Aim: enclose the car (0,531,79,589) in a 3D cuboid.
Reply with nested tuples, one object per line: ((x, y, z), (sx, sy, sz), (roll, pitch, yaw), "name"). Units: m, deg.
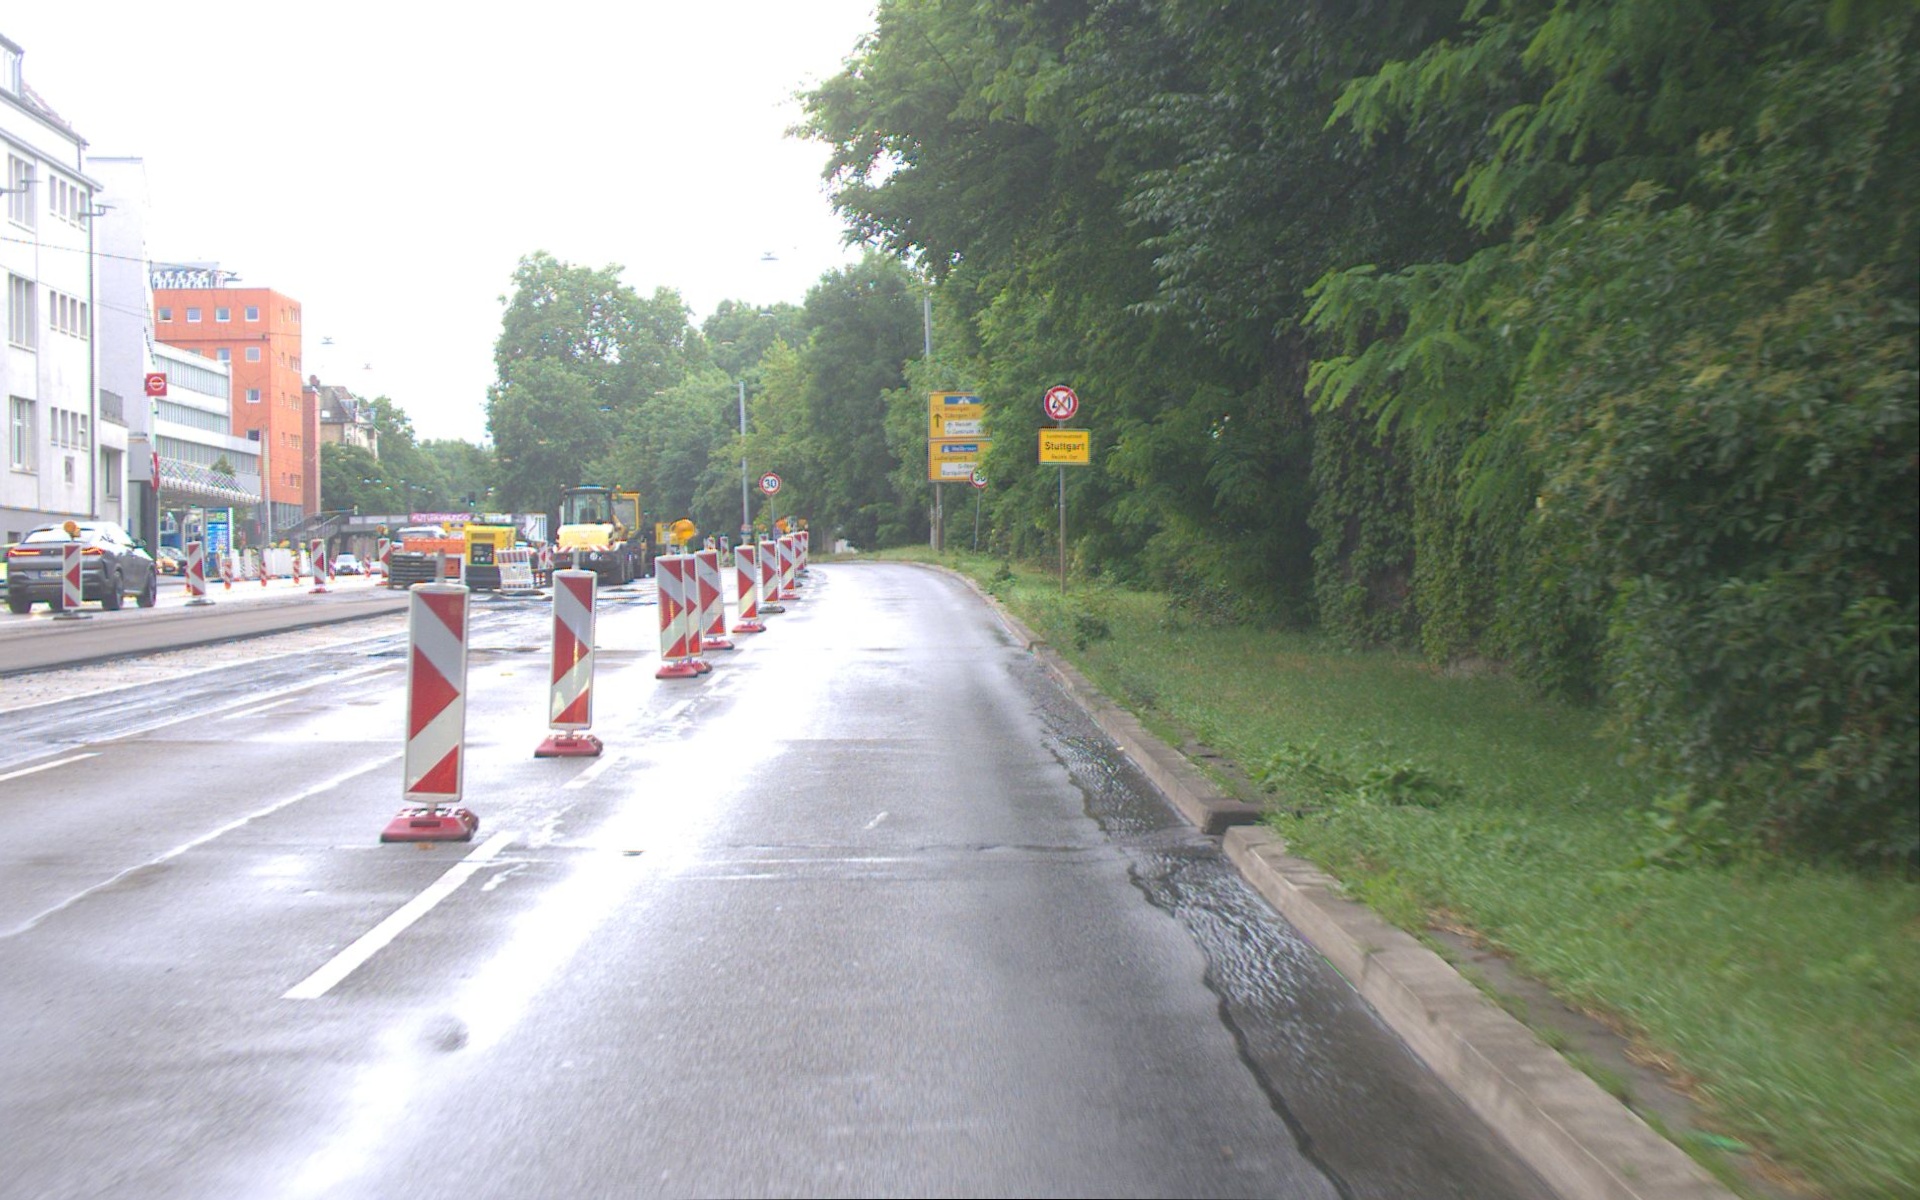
((-22.819, -0.994, 84.227), (1.553, 1.363, 3.805), (-2, 1, -1), "car")

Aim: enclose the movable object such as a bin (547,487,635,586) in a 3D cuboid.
((-10.088, -1.761, 94.221), (1.902, 2.600, 5.383), (-1, 1, -1), "movable object such as a bin")

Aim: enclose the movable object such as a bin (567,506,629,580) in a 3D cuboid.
((-10.527, -1.692, 100.223), (1.362, 2.083, 5.030), (-1, 1, -1), "movable object such as a bin")

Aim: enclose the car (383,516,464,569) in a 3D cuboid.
((-16.972, -1.836, 108.969), (1.893, 1.644, 4.396), (0, 1, 0), "car")

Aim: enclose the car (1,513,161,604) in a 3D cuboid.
((-16.471, -0.789, 64.618), (1.893, 1.644, 4.396), (0, 1, 0), "car")

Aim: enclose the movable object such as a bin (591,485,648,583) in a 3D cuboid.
((-10.757, -2.095, 108.881), (1.465, 2.998, 3.725), (-3, 1, -3), "movable object such as a bin")

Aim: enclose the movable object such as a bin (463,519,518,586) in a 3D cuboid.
((-11.663, -1.187, 85.529), (1.083, 1.639, 2.439), (-1, 1, -2), "movable object such as a bin")
